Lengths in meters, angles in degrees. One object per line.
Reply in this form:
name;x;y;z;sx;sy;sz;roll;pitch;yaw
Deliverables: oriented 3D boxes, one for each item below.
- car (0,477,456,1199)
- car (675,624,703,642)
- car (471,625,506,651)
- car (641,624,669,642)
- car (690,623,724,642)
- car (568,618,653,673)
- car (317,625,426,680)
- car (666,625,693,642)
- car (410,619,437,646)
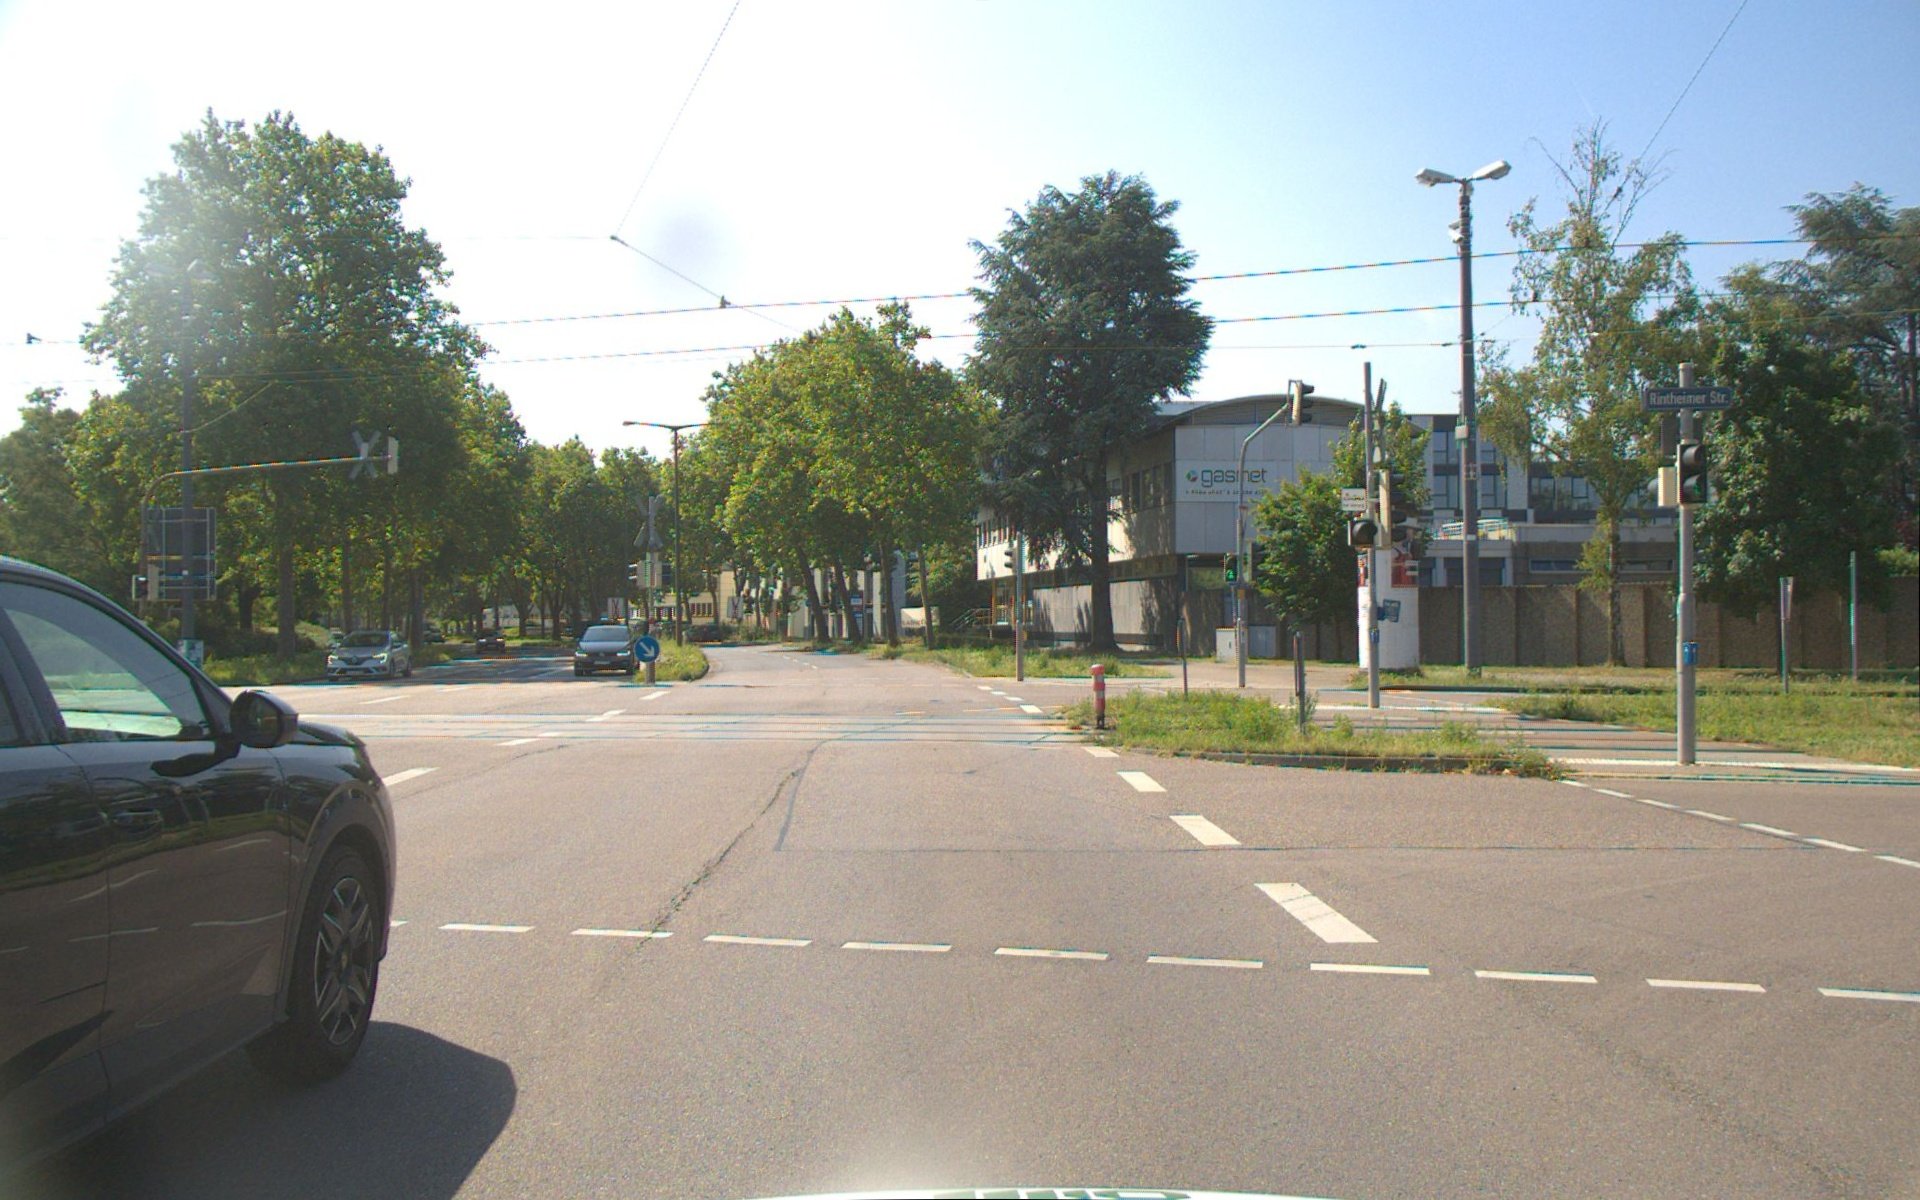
car;-2.785;0.619;3.887;1.834;1.726;4.435;1;-1;0
car;-23.676;2.879;144.335;1.681;1.514;4.077;-1;0;-20
car;-31.337;2.522;109.996;1.677;1.617;4.423;-2;0;-9
car;-29.634;3.198;160.598;1.685;1.699;4.498;-1;0;-25
car;-21.346;2.735;139.288;1.684;1.513;4.683;-2;0;-24
car;-10.392;1.329;49.444;1.659;1.534;4.129;-1;-1;0
car;-17.559;1.527;49.600;1.659;1.534;4.660;-1;-1;-1
car;-25.332;2.996;149.237;1.681;1.480;4.628;-1;0;-20
car;-54.902;3.312;169.242;2.032;2.659;7.168;-1;-1;-22
